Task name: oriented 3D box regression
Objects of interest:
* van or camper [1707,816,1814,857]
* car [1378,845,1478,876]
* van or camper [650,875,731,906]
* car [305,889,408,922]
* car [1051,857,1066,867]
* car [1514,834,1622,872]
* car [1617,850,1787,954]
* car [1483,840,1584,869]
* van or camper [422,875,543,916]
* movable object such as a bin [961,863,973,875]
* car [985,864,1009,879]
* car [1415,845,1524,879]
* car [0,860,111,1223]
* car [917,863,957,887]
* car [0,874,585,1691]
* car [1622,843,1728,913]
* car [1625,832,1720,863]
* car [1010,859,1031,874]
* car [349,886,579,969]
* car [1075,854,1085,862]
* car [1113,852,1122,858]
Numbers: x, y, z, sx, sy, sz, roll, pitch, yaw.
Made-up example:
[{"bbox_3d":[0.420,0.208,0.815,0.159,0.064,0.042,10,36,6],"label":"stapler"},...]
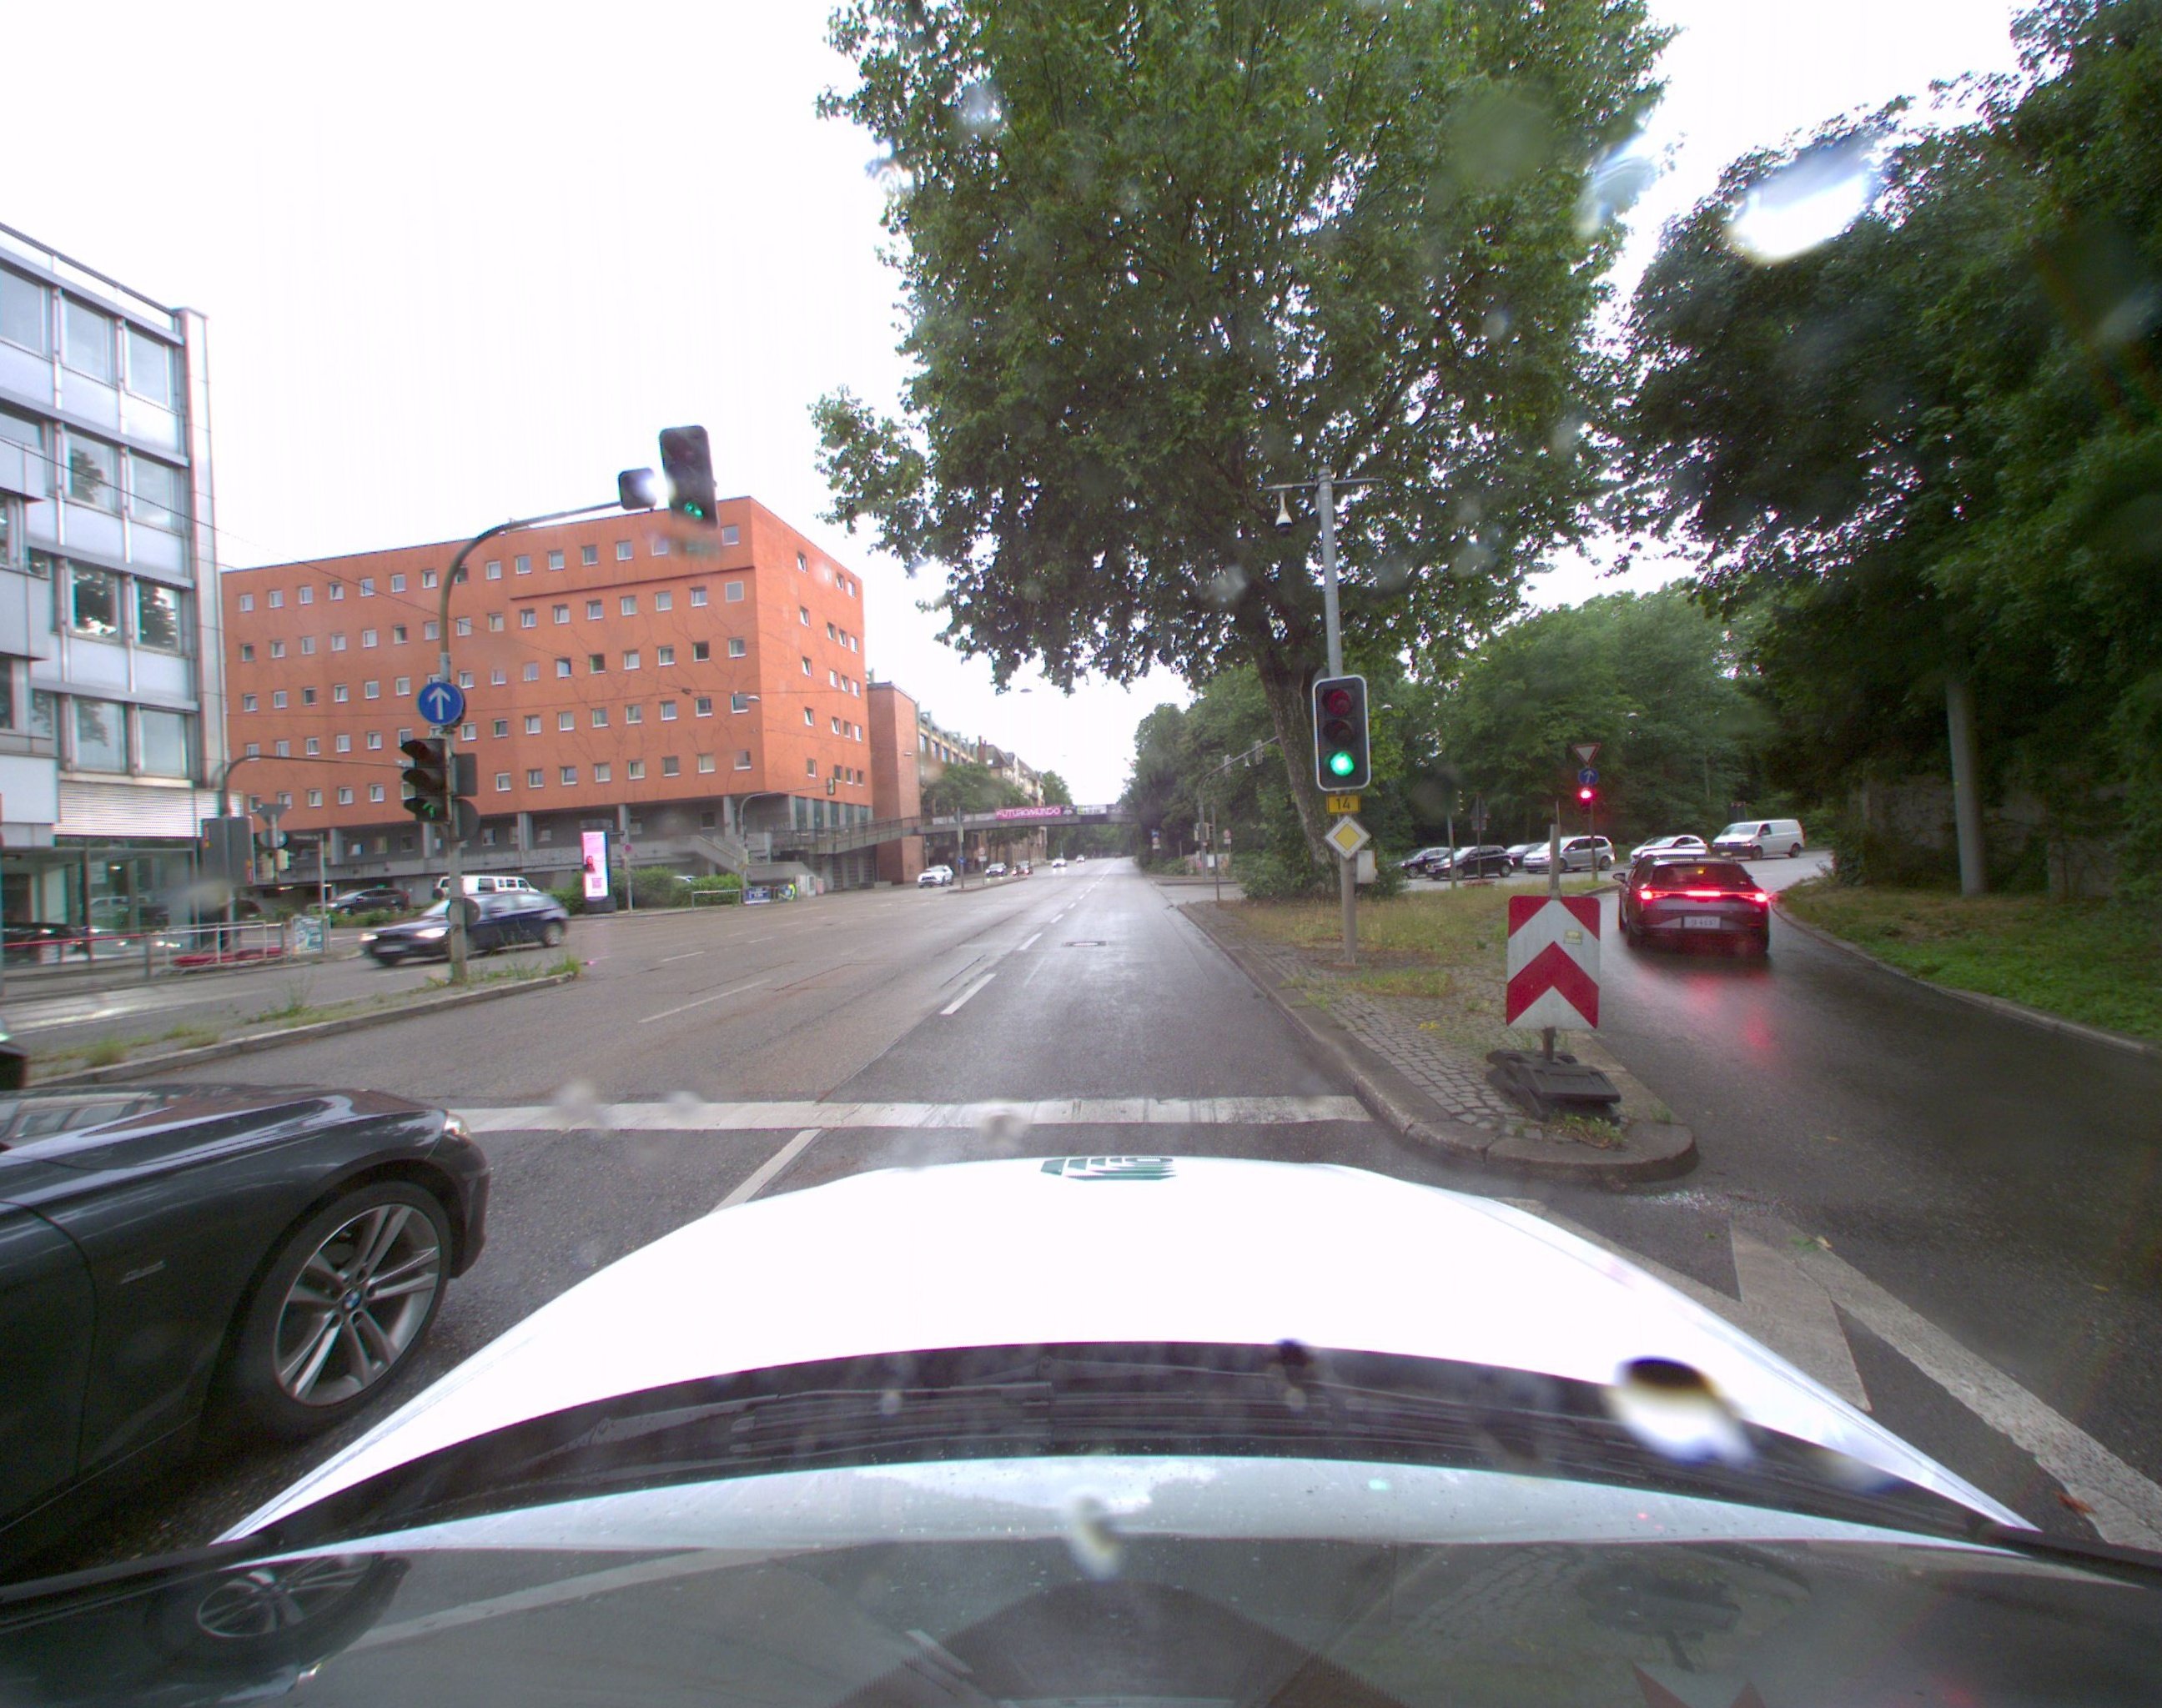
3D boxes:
[{"bbox_3d":[34.690,-0.877,41.583,4.862,1.947,1.895,-1,-1,-18],"label":"van or camper"},{"bbox_3d":[16.933,0.313,39.836,4.205,1.440,1.941,0,-1,-14],"label":"car"},{"bbox_3d":[-23.930,2.230,49.975,3.965,1.627,1.918,-3,0,8],"label":"van or camper"},{"bbox_3d":[-40.248,2.820,45.394,1.699,1.612,4.097,-1,-1,9],"label":"car"},{"bbox_3d":[-3.350,1.207,121.279,1.823,1.393,4.409,-4,-1,3],"label":"car"},{"bbox_3d":[22.613,-0.046,37.836,4.203,1.680,1.898,0,-1,-14],"label":"car"},{"bbox_3d":[9.985,0.642,13.420,1.731,1.403,4.441,1,1,31],"label":"car"},{"bbox_3d":[22.893,0.035,41.217,4.438,1.402,1.821,0,-1,-14],"label":"car"},{"bbox_3d":[-32.832,2.224,44.937,2.113,1.977,5.466,0,-1,9],"label":"van or camper"},{"bbox_3d":[-15.104,1.932,107.728,1.277,1.518,1.274,-3,0,3],"label":"movable object such as a bin"},{"bbox_3d":[-8.935,1.808,87.169,1.701,1.464,4.047,-3,-1,5],"label":"car"},{"bbox_3d":[17.164,0.340,36.039,4.192,1.460,1.784,0,-1,-14],"label":"car"},{"bbox_3d":[-5.975,0.850,1.948,1.801,1.656,4.449,0,-1,4],"label":"car"},{"bbox_3d":[-10.811,1.532,61.367,1.881,1.610,4.461,-3,-1,4],"label":"car"},{"bbox_3d":[-2.917,0.837,0.897,1.769,1.458,4.480,-3,-1,3],"label":"car"},{"bbox_3d":[14.342,0.485,19.737,1.834,1.448,4.648,2,2,36],"label":"car"},{"bbox_3d":[28.847,-0.299,39.729,3.857,1.461,1.650,0,-1,-14],"label":"car"},{"bbox_3d":[-6.256,1.266,84.637,1.676,1.436,3.866,-3,-1,3],"label":"car"},{"bbox_3d":[-13.645,1.552,18.398,1.678,1.419,4.220,-4,-1,5],"label":"car"},{"bbox_3d":[-0.160,0.777,167.309,1.594,1.499,3.715,-4,-1,3],"label":"car"},{"bbox_3d":[9.411,0.253,210.264,1.996,1.643,4.378,-3,0,2],"label":"car"}]
